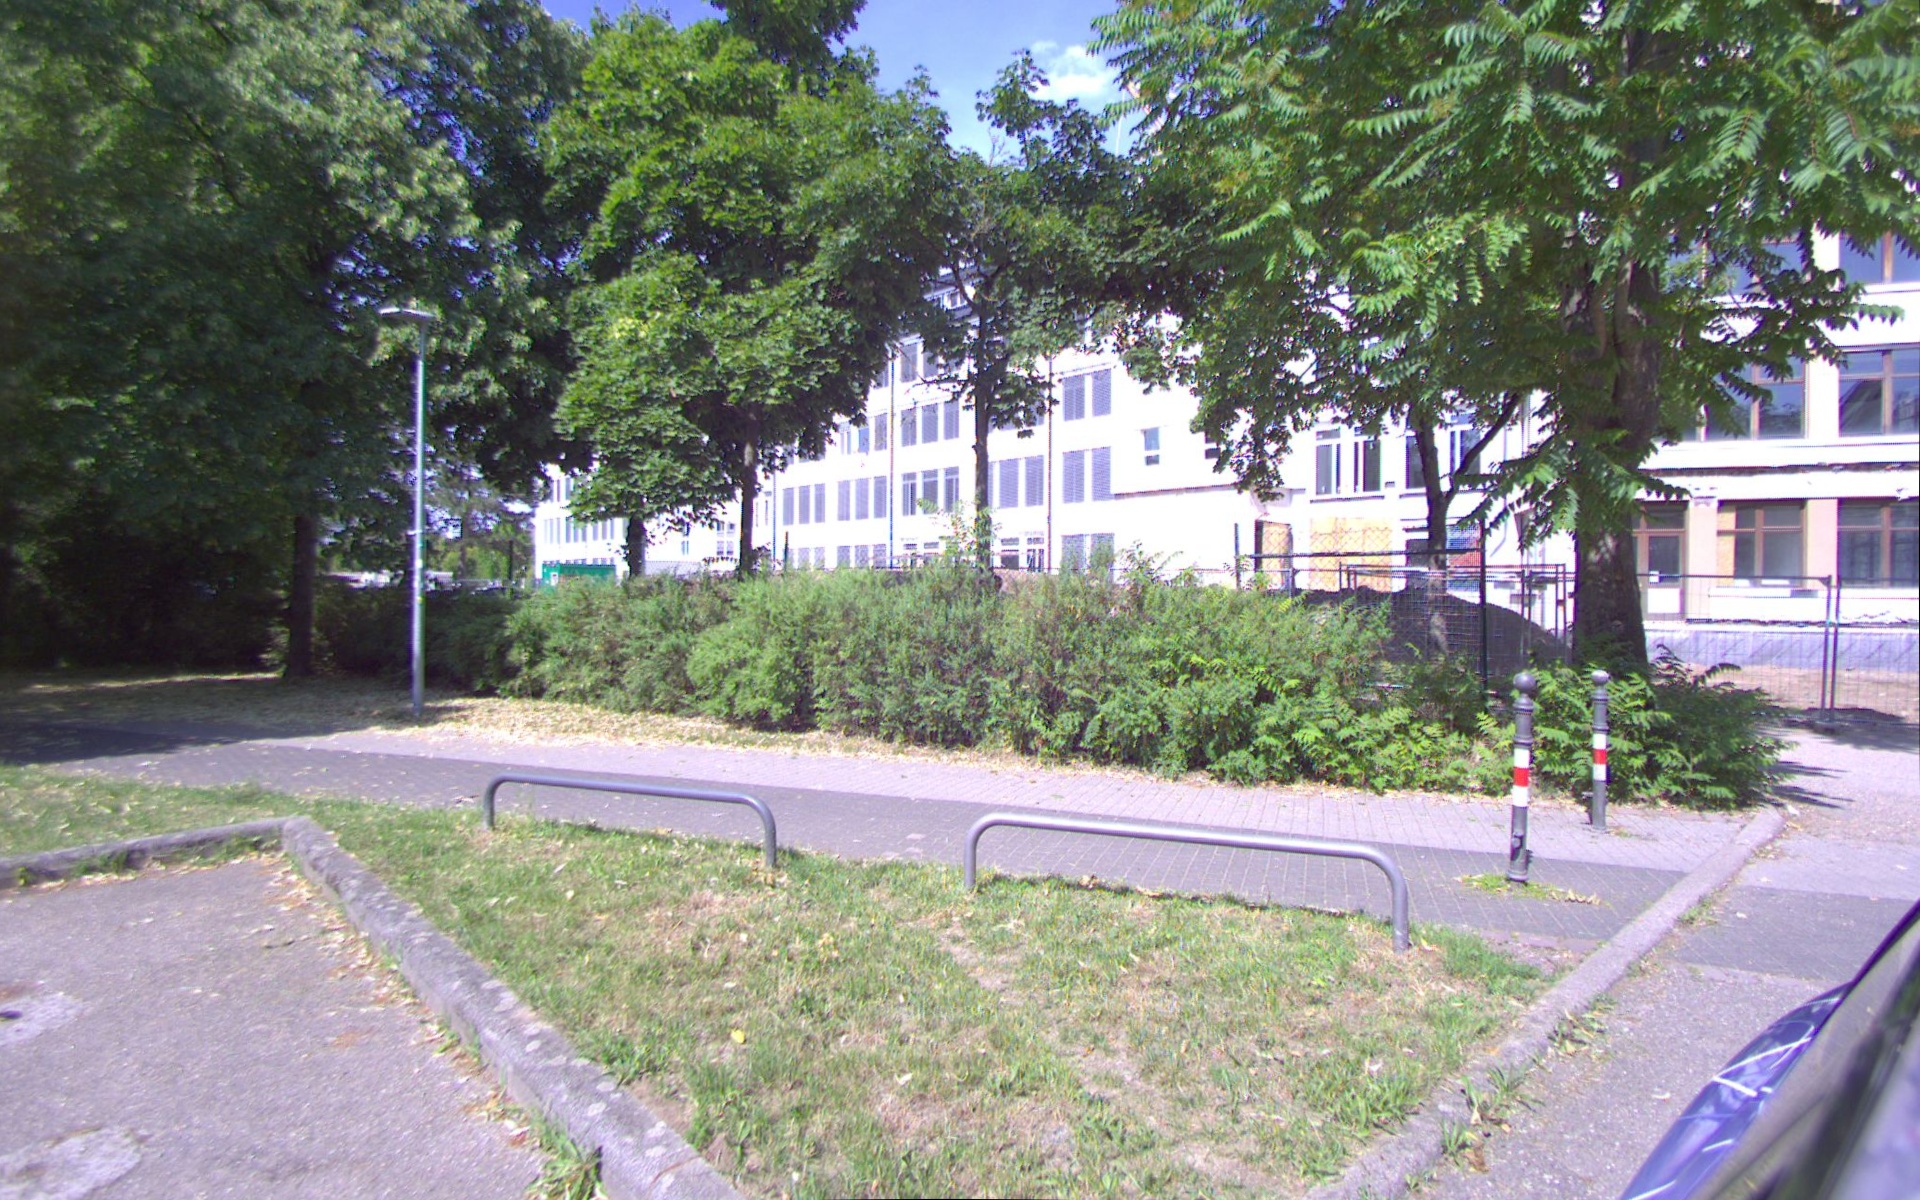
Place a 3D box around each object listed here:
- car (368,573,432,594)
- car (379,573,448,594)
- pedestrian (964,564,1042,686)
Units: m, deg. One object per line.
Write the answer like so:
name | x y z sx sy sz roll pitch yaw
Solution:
car | -44.656 -1.333 80.724 4.290 1.622 1.549 0 0 -42
car | -42.784 -1.278 79.290 4.499 1.622 1.549 0 0 -42
pedestrian | 0.642 0.348 15.039 0.850 1.749 0.747 2 0 39
